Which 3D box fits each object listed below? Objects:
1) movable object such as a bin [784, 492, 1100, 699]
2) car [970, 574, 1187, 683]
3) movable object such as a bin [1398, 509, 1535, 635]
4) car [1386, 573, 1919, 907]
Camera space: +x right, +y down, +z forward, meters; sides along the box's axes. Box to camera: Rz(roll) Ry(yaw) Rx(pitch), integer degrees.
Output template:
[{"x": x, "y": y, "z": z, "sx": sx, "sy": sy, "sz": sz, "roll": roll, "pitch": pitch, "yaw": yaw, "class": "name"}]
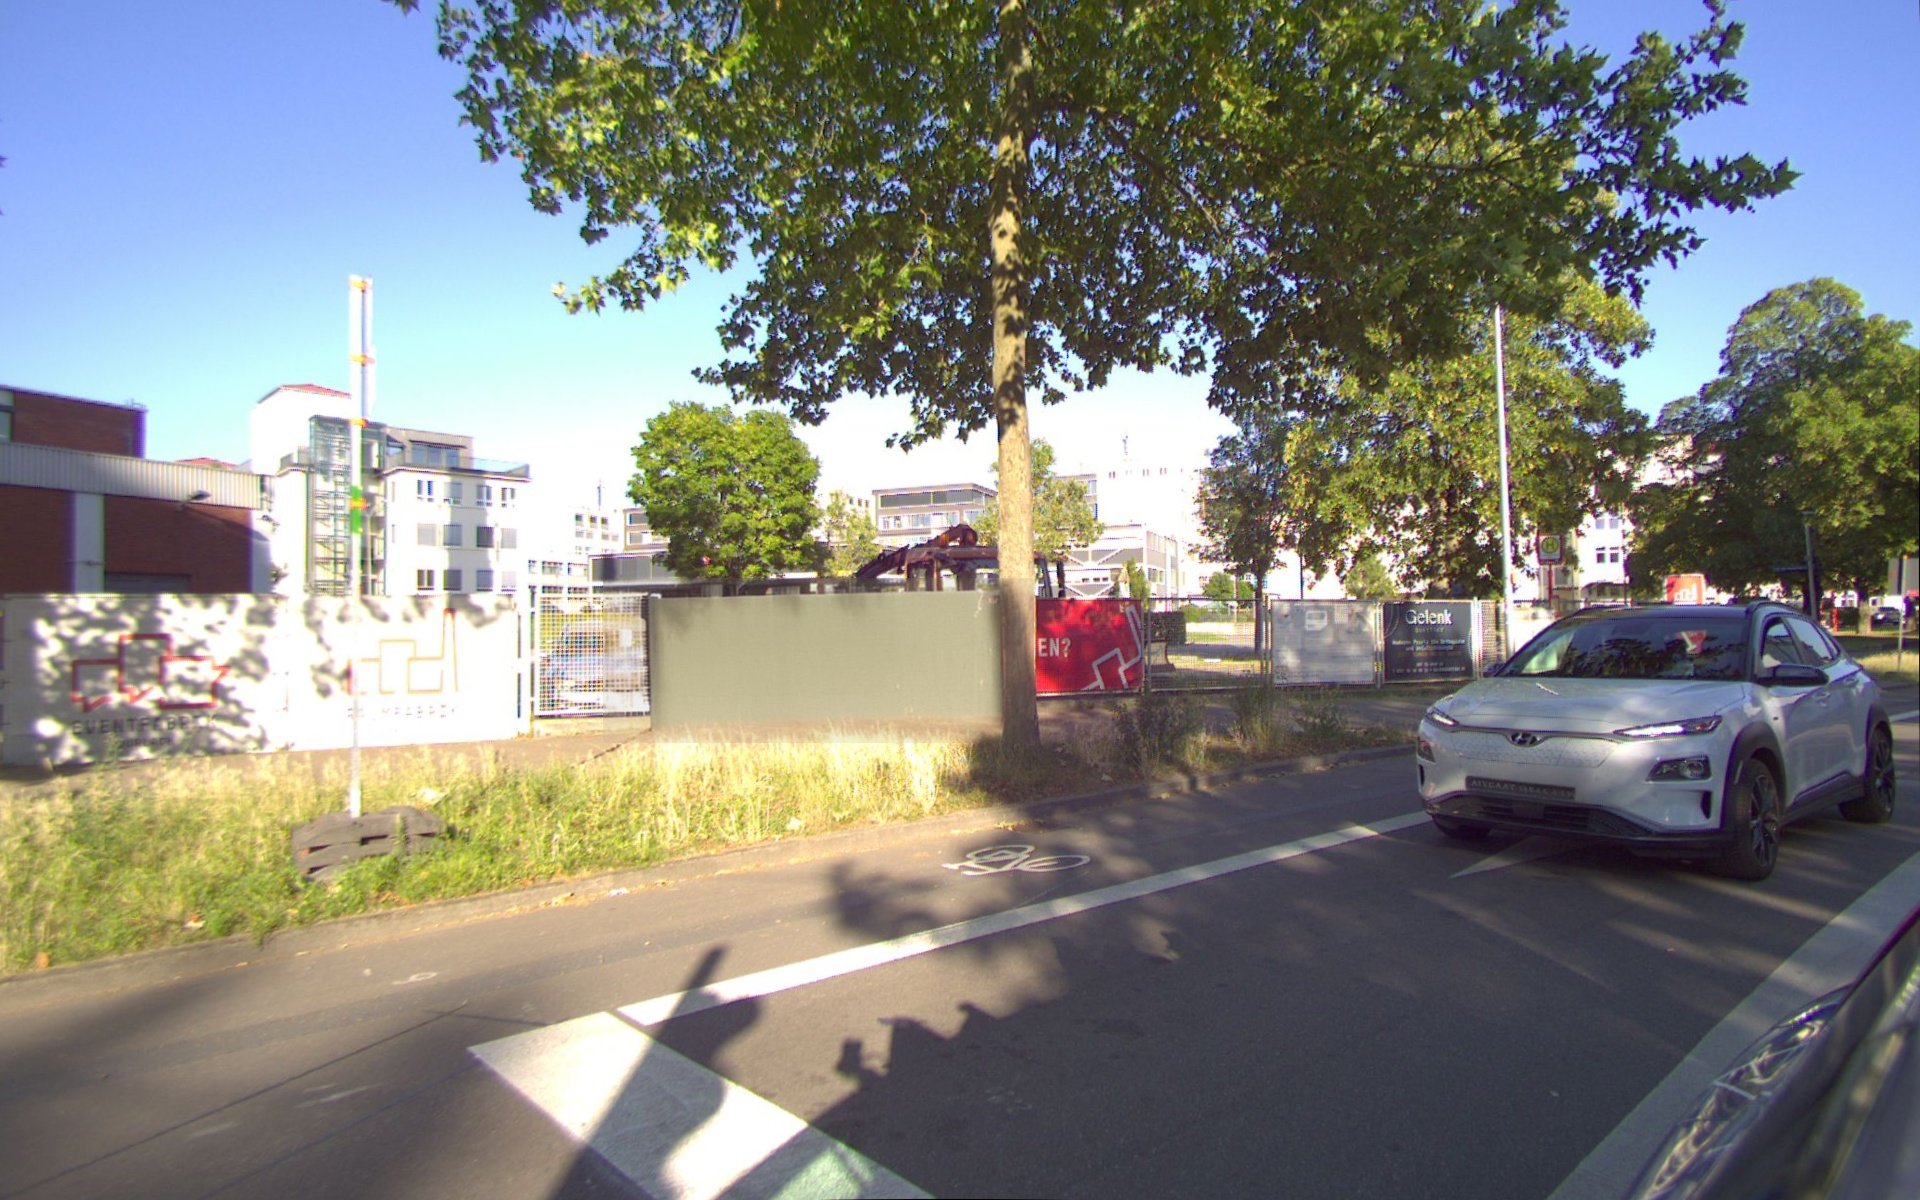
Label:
[{"x": -0.642, "y": -0.001, "z": 18.652, "sx": 3.153, "sy": 3.088, "sz": 6.295, "roll": -1, "pitch": -1, "yaw": -29, "class": "movable object such as a bin"}, {"x": 2.132, "y": 0.545, "z": 19.793, "sx": 2.001, "sy": 1.852, "sz": 4.611, "roll": -1, "pitch": -1, "yaw": -26, "class": "car"}, {"x": 24.121, "y": -1.199, "z": 48.651, "sx": 3.912, "sy": 5.549, "sz": 6.018, "roll": -2, "pitch": -1, "yaw": 8, "class": "movable object such as a bin"}, {"x": 4.850, "y": 0.766, "z": 6.883, "sx": 3.891, "sy": 1.618, "sz": 1.894, "roll": 2, "pitch": -4, "yaw": -37, "class": "car"}]
